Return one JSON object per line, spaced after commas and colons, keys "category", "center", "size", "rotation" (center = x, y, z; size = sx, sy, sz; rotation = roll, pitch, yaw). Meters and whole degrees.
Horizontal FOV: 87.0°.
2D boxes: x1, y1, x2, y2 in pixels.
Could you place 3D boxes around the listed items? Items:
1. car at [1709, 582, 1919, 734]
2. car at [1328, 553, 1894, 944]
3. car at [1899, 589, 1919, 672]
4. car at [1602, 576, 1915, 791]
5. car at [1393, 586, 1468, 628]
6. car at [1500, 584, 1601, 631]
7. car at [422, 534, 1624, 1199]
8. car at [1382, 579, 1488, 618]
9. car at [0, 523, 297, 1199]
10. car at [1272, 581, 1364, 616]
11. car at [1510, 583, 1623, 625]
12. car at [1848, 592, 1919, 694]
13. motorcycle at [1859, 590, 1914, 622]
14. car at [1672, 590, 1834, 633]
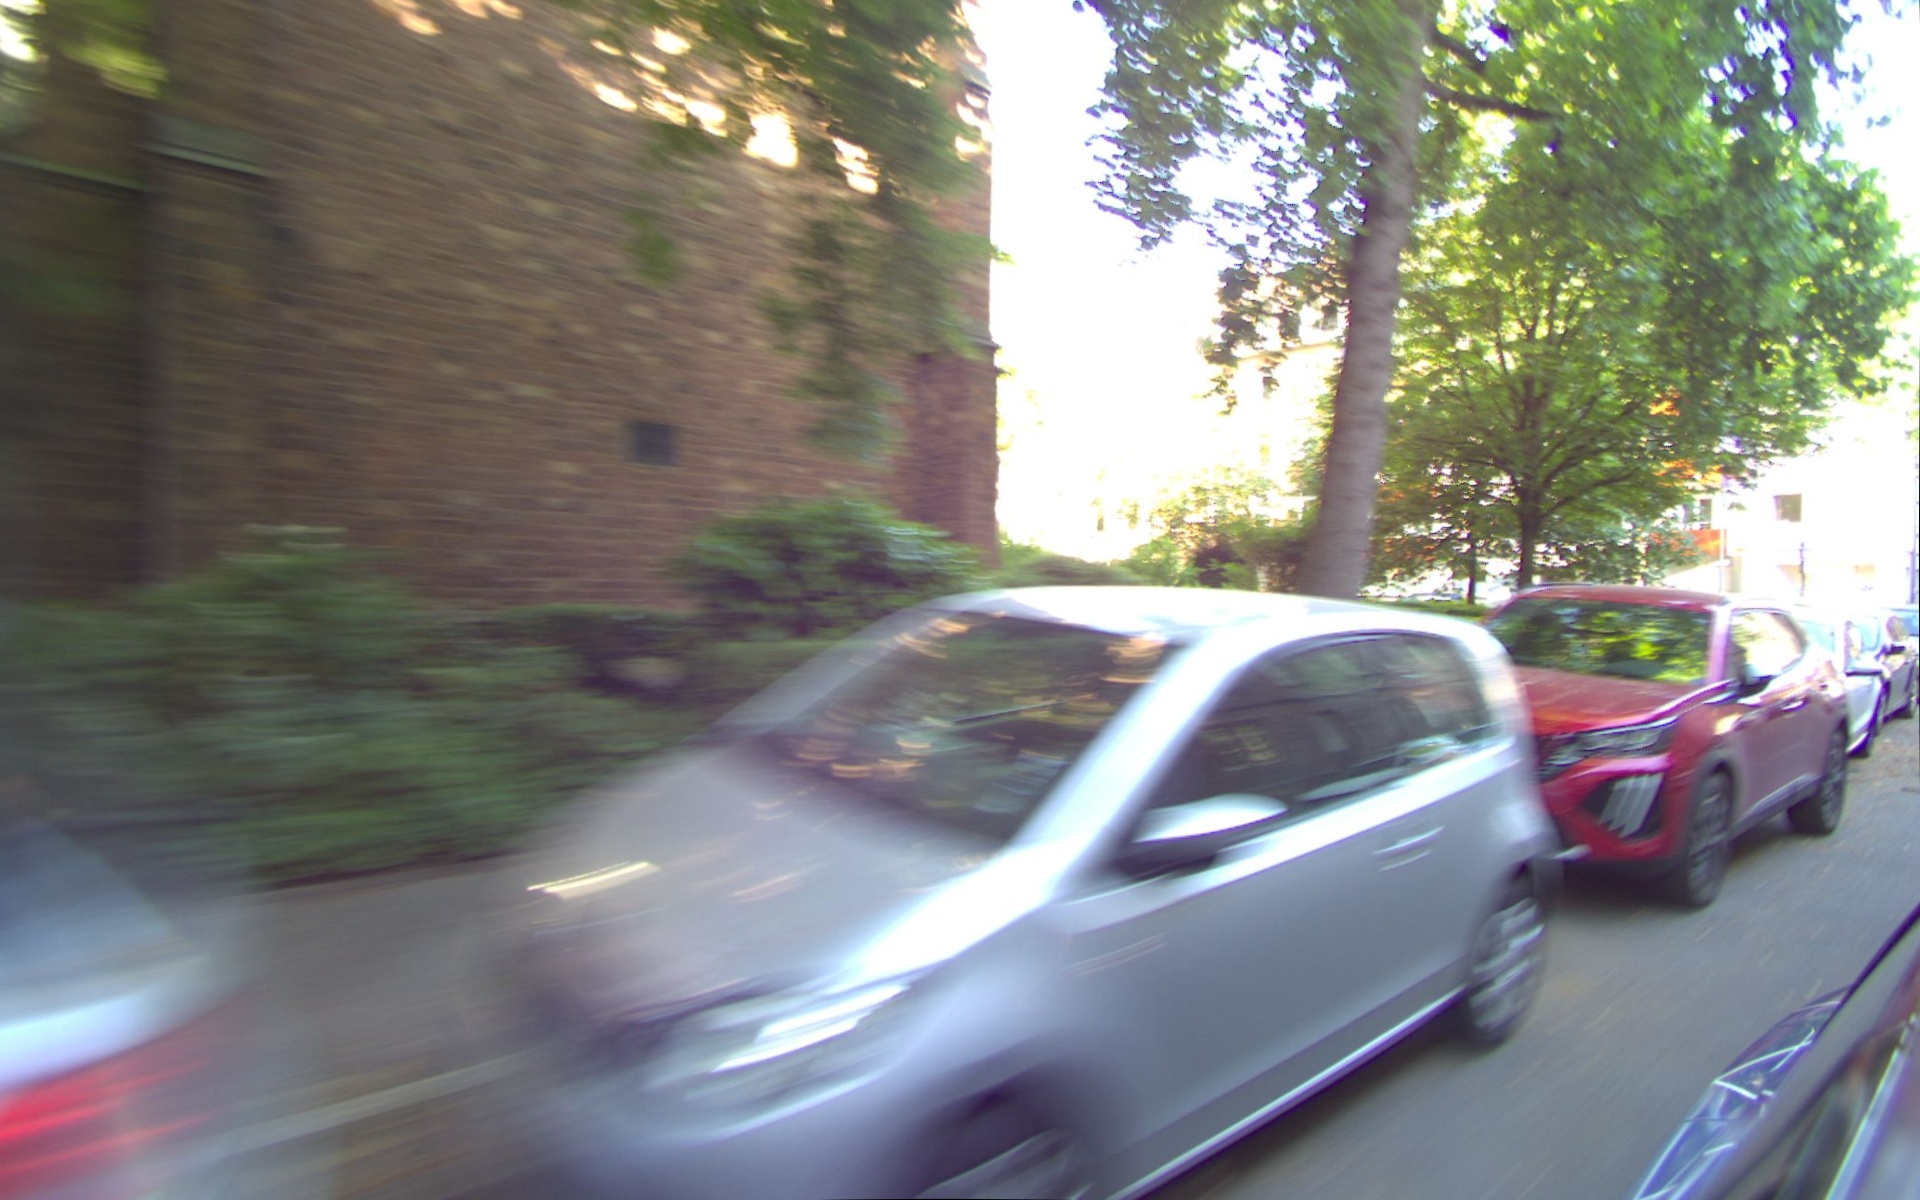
{"category": "car", "center": [11.343, 0.606, 13.090], "size": [3.988, 1.537, 1.669], "rotation": [-1, 6, -40]}
{"category": "car", "center": [4.202, 0.599, 6.287], "size": [4.026, 1.604, 1.669], "rotation": [-1, 6, -39]}
{"category": "car", "center": [19.983, 0.598, 20.015], "size": [3.766, 1.538, 1.712], "rotation": [-1, 3, -42]}
{"category": "car", "center": [7.794, 0.604, 9.751], "size": [3.885, 1.537, 1.667], "rotation": [-1, 6, -43]}
{"category": "car", "center": [17.835, 0.237, 38.564], "size": [1.756, 1.449, 4.397], "rotation": [-1, 1, 14]}
{"category": "car", "center": [20.031, 0.216, 34.524], "size": [1.756, 1.449, 4.397], "rotation": [-1, 1, 14]}
{"category": "car", "center": [0.507, 0.645, 3.209], "size": [3.655, 1.522, 1.604], "rotation": [-1, 6, -40]}
{"category": "car", "center": [21.484, -0.108, 45.898], "size": [1.622, 1.636, 4.033], "rotation": [-3, 3, -41]}
{"category": "car", "center": [-2.648, 0.656, 0.441], "size": [3.801, 1.488, 1.603], "rotation": [-1, 4, -40]}
{"category": "car", "center": [17.687, -0.117, 50.094], "size": [1.622, 1.598, 3.997], "rotation": [-3, 3, -41]}
{"category": "car", "center": [24.891, 0.122, 41.614], "size": [1.622, 1.577, 3.692], "rotation": [-3, 3, -41]}
{"category": "car", "center": [15.848, 0.649, 16.484], "size": [3.935, 1.454, 1.624], "rotation": [-1, 3, -42]}
{"category": "motorcycle", "center": [33.997, 0.215, 37.144], "size": [1.467, 1.131, 0.894], "rotation": [1, 1, 43]}
{"category": "car", "center": [28.750, 0.383, 36.802], "size": [1.751, 1.449, 4.409], "rotation": [-1, 1, -41]}
